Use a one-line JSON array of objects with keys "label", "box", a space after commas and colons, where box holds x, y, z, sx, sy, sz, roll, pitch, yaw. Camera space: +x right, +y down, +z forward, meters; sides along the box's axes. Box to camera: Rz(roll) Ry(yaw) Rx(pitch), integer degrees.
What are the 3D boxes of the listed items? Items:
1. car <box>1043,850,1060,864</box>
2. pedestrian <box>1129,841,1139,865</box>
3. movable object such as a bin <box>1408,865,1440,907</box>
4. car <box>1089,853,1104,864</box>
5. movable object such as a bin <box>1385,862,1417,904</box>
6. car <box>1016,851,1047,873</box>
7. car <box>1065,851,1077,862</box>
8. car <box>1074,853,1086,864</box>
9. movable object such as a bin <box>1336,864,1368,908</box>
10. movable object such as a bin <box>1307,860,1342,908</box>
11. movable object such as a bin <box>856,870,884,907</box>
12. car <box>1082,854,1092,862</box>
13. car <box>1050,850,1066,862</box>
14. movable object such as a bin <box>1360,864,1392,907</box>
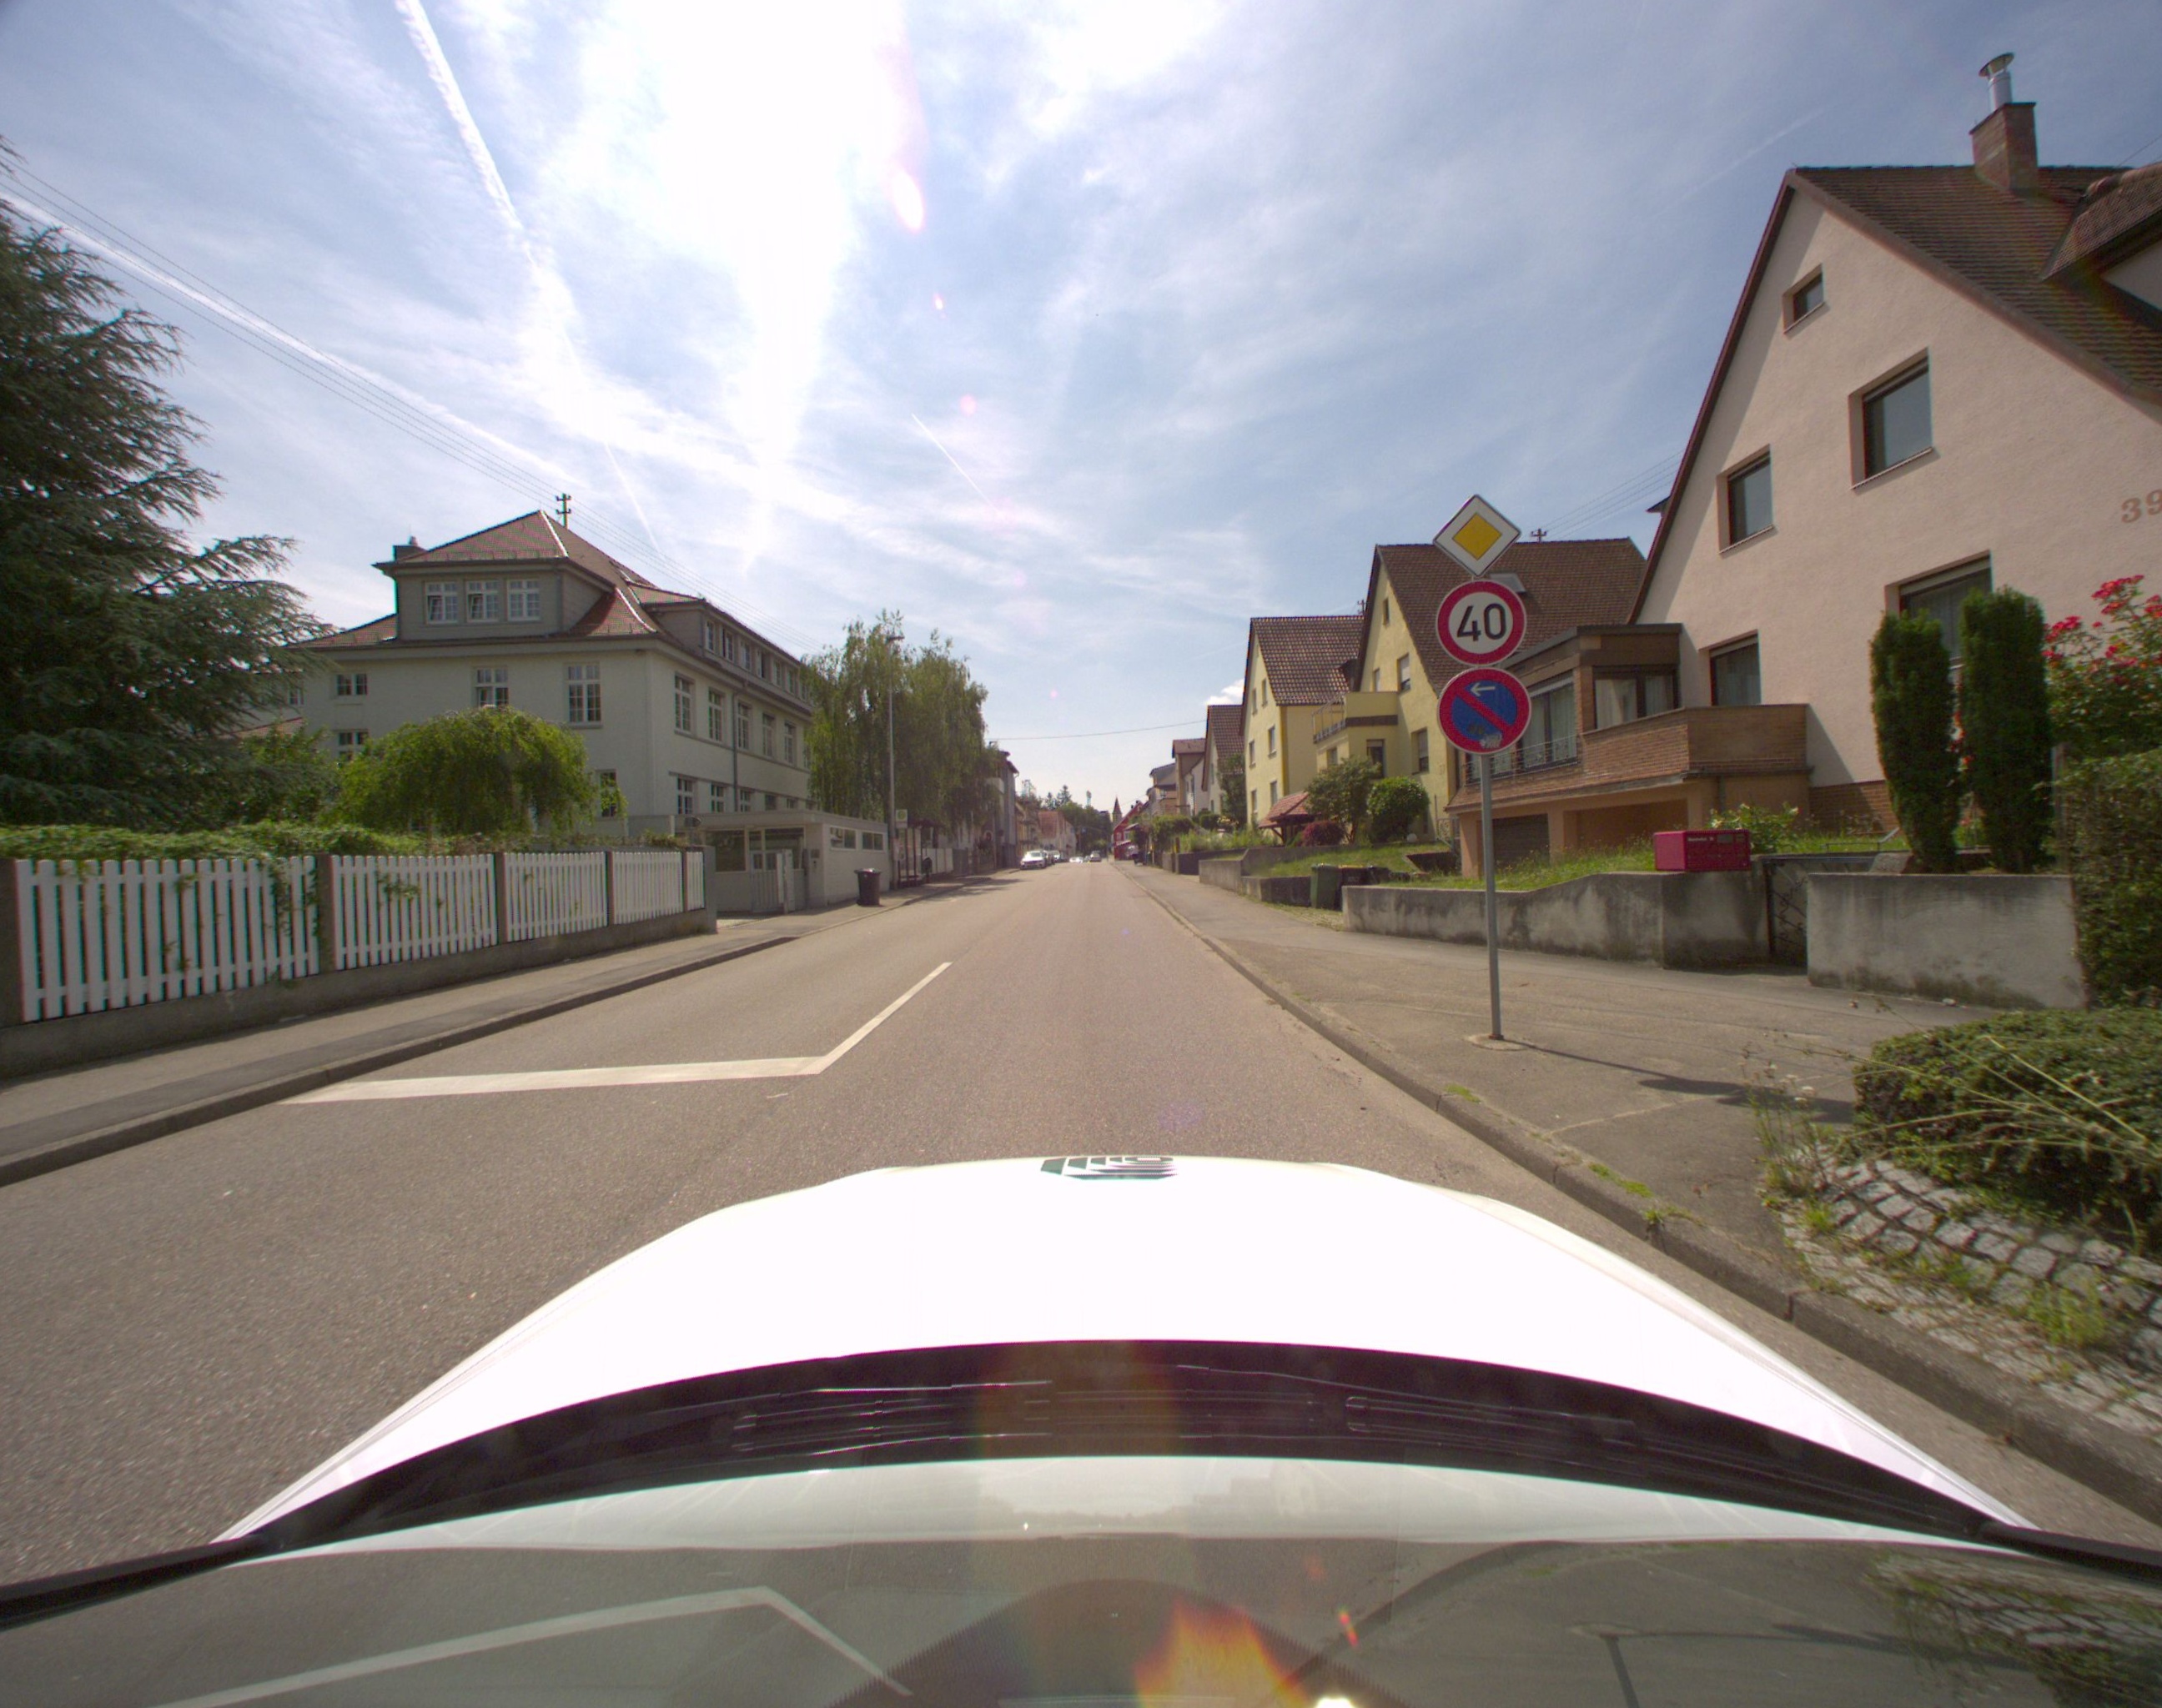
[{"label": "car", "box": [-3.653, 0.317, 101.524, 1.988, 1.560, 4.312, -3, 1, -1]}, {"label": "pedestrian", "box": [4.088, -0.077, 62.665, 0.644, 1.729, 0.608, -5, 1, 1]}, {"label": "movable object such as a bin", "box": [8.188, 0.763, 19.463, 0.526, 0.951, 0.564, 1, 0, 1]}, {"label": "car", "box": [2.437, 0.722, 130.377, 1.989, 1.560, 4.310, -3, 1, -2]}, {"label": "movable object such as a bin", "box": [7.628, 0.685, 19.417, 0.526, 0.951, 0.564, 2, 0, 1]}, {"label": "car", "box": [-3.932, 0.586, 65.586, 2.103, 1.560, 4.314, -3, 1, 0]}, {"label": "car", "box": [-1.938, 0.554, 163.344, 1.985, 2.013, 4.003, -3, 0, 3]}, {"label": "car", "box": [-0.144, 0.839, 153.591, 1.985, 2.013, 4.003, -3, 0, 3]}, {"label": "movable object such as a bin", "box": [6.455, 0.761, 19.397, 0.526, 0.989, 0.564, 4, 0, 1]}, {"label": "movable object such as a bin", "box": [5.789, 0.704, 19.380, 0.581, 1.078, 0.734, 2, 1, 1]}, {"label": "movable object such as a bin", "box": [-6.310, 1.028, 24.361, 0.605, 1.046, 0.725, -2, 2, 0]}, {"label": "car", "box": [1.155, 0.830, 166.294, 1.833, 1.464, 4.002, -4, 1, 2]}, {"label": "car", "box": [-3.276, 0.311, 115.091, 1.987, 1.560, 4.314, -3, 1, 0]}, {"label": "movable object such as a bin", "box": [7.011, 0.741, 19.388, 0.526, 0.989, 0.564, 2, 0, 1]}]
